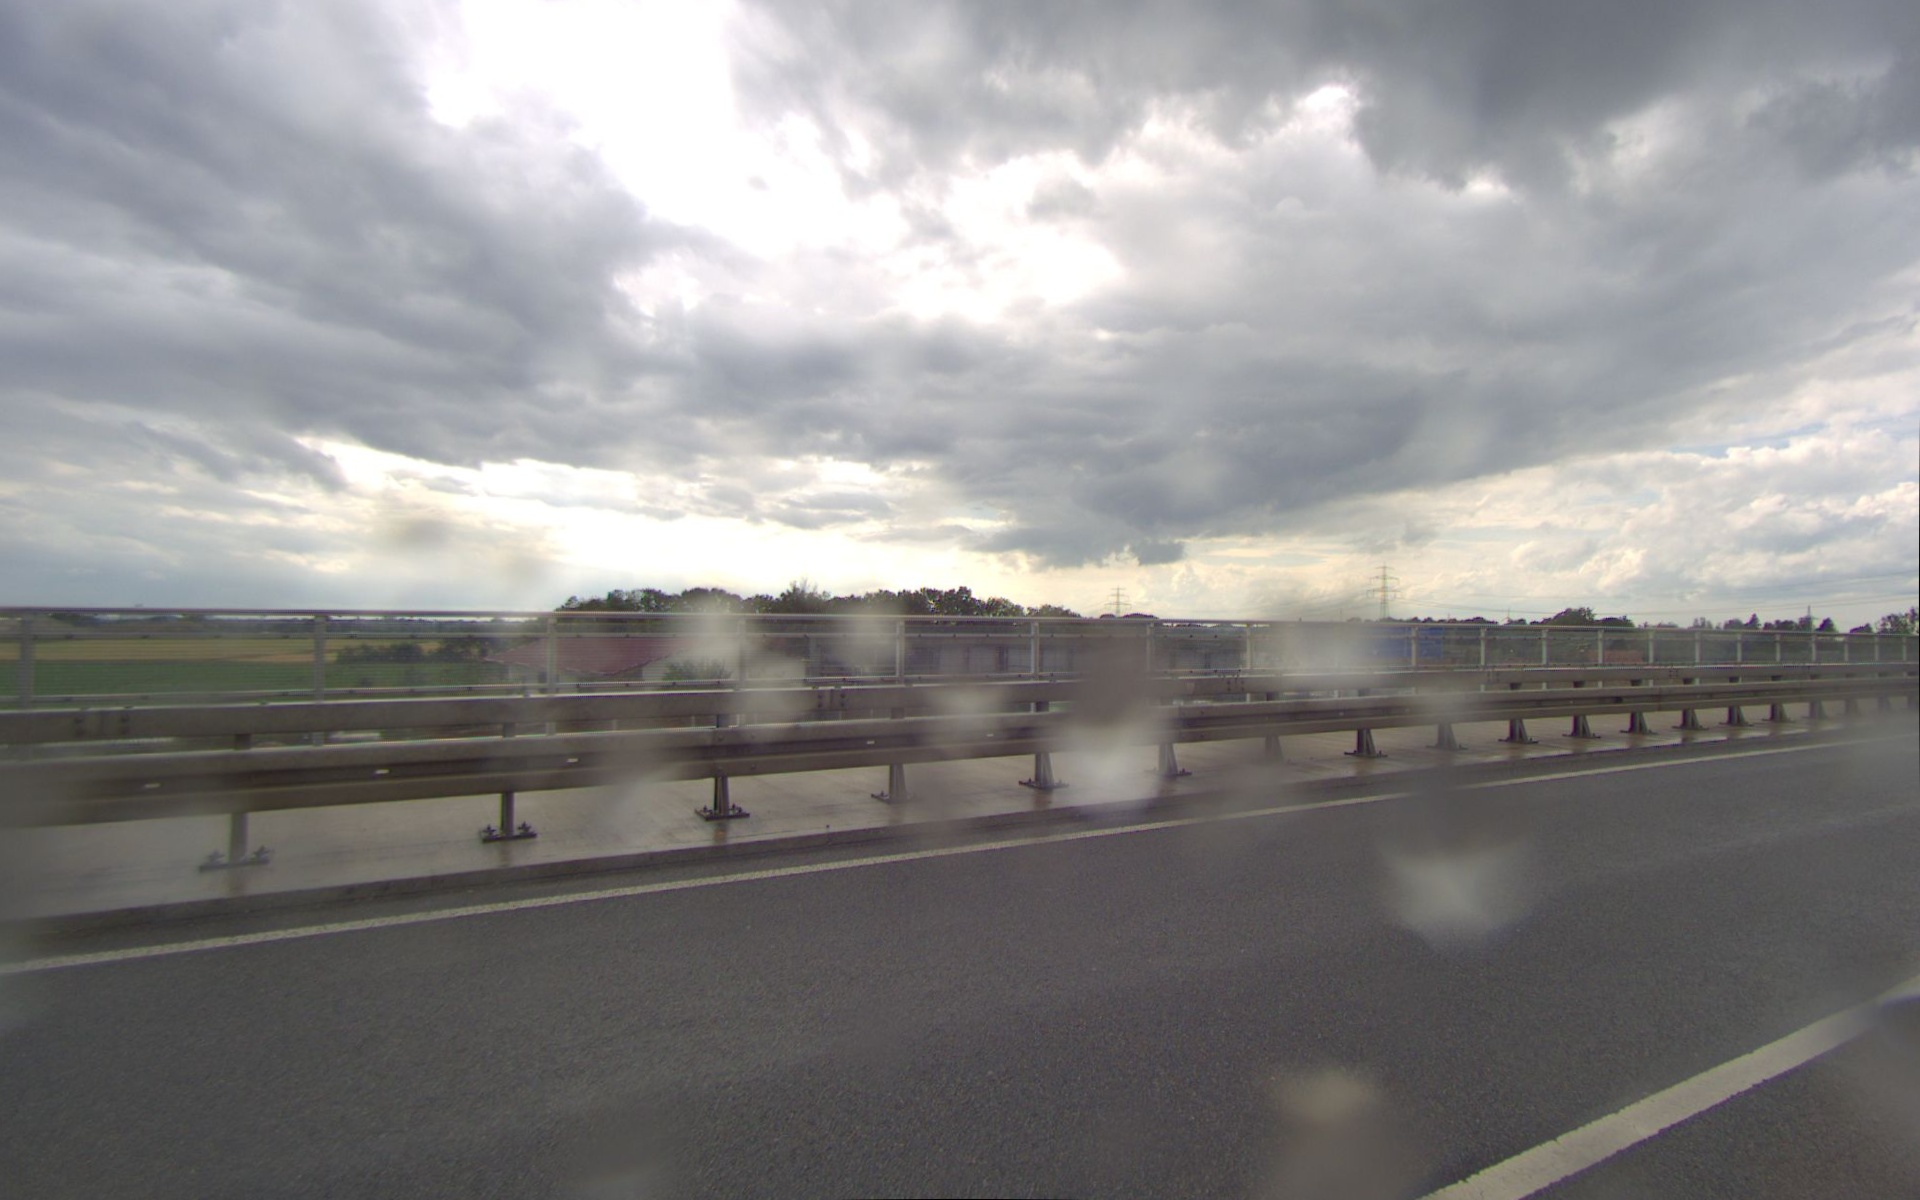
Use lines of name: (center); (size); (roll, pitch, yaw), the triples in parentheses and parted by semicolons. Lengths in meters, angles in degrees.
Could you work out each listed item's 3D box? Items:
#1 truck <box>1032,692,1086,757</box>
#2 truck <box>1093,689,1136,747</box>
truck: (8.306, 10.091, 83.083); (2.388, 4.055, 11.174); (2, 0, 16)
truck: (14.366, 10.683, 92.525); (2.388, 4.055, 11.174); (2, 0, 16)
